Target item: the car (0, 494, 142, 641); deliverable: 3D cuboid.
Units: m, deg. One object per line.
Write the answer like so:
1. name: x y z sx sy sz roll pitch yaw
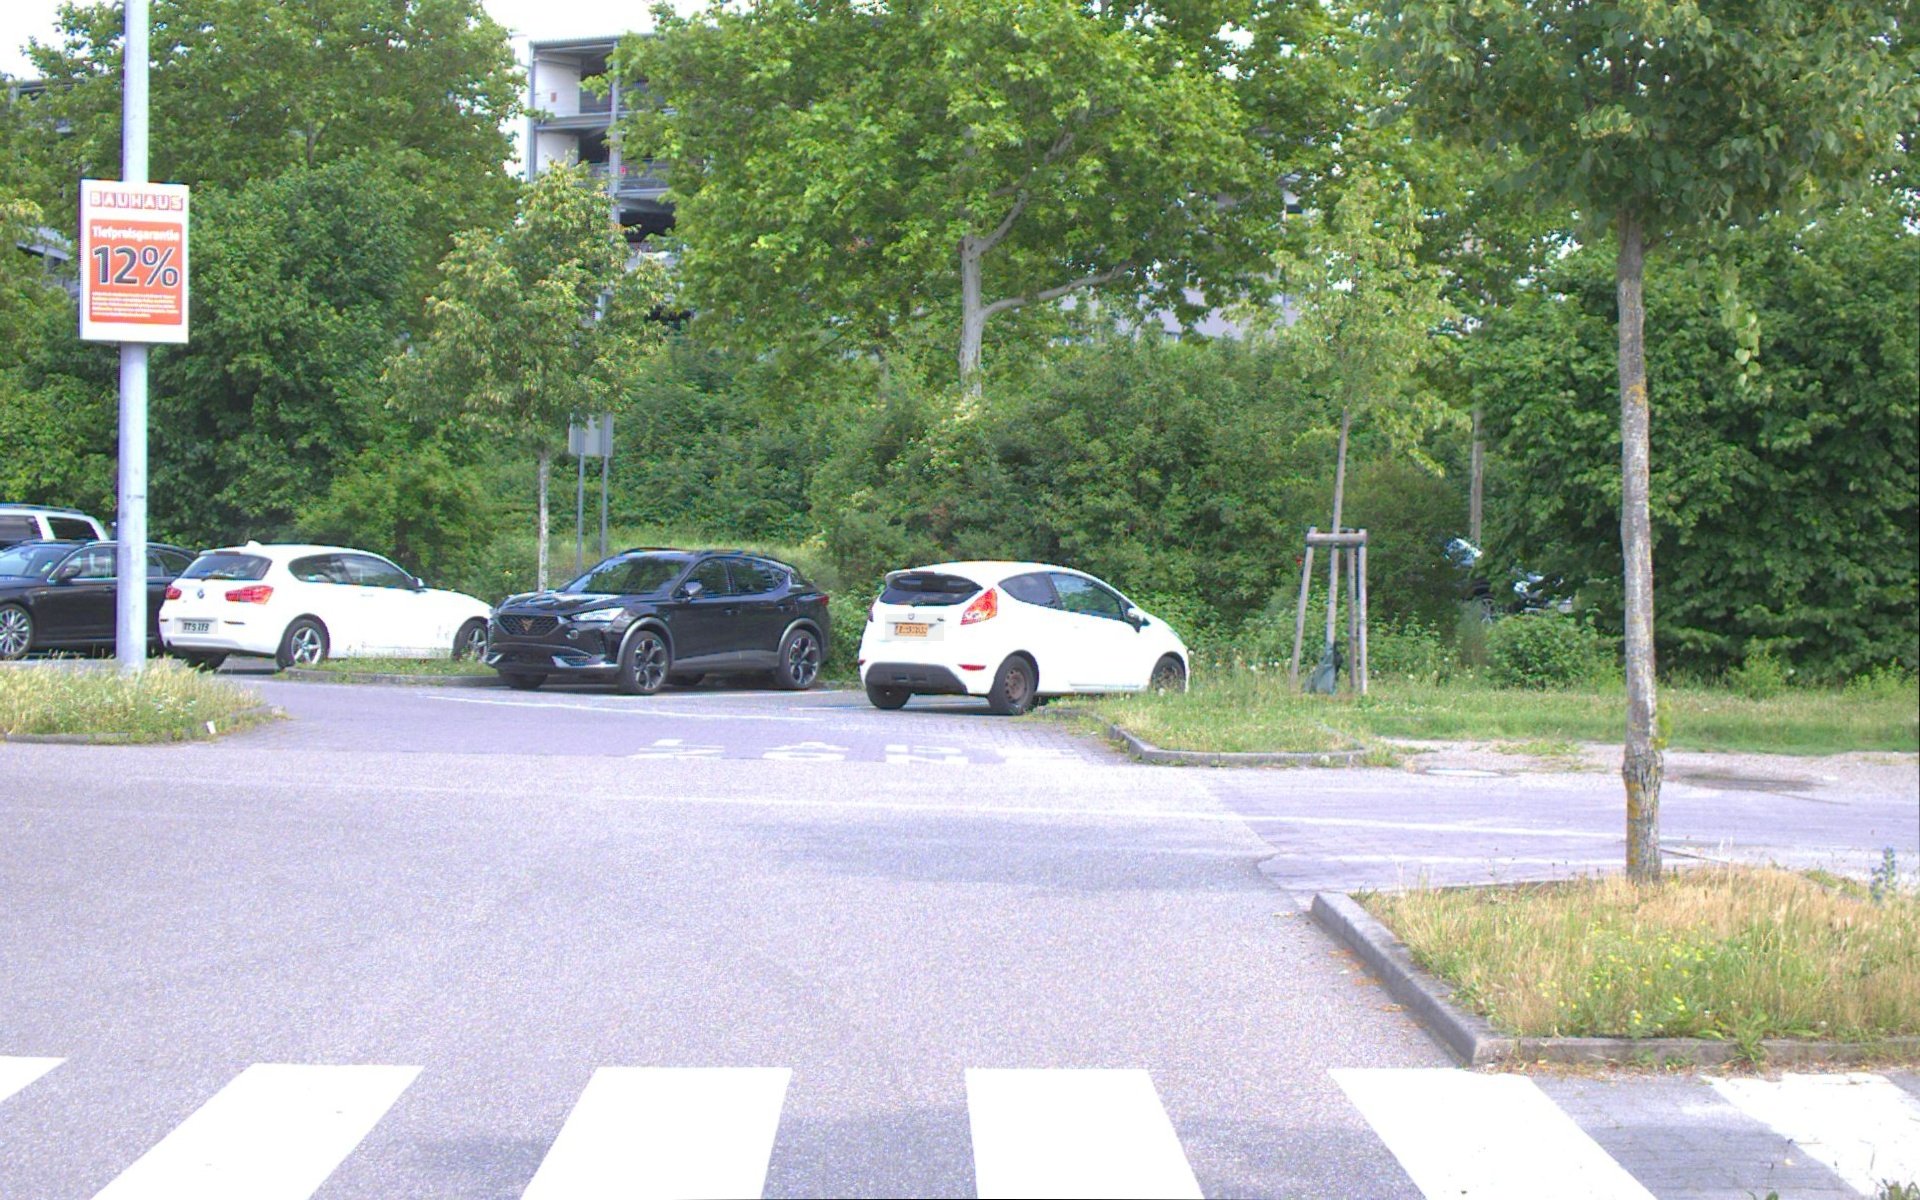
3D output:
1. car: -12.926 -0.441 43.316 1.988 1.836 5.138 2 1 33

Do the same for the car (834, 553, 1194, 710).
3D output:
1. car: 0.576 0.283 33.605 1.668 1.407 3.549 2 1 38

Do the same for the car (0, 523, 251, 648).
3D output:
1. car: -11.029 -0.198 41.824 1.837 1.446 4.715 2 1 35

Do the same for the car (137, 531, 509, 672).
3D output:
1. car: -7.160 0.002 38.970 1.688 1.504 4.073 1 1 37

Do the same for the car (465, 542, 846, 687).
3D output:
1. car: -3.167 0.126 36.556 1.731 1.405 4.234 2 1 34
